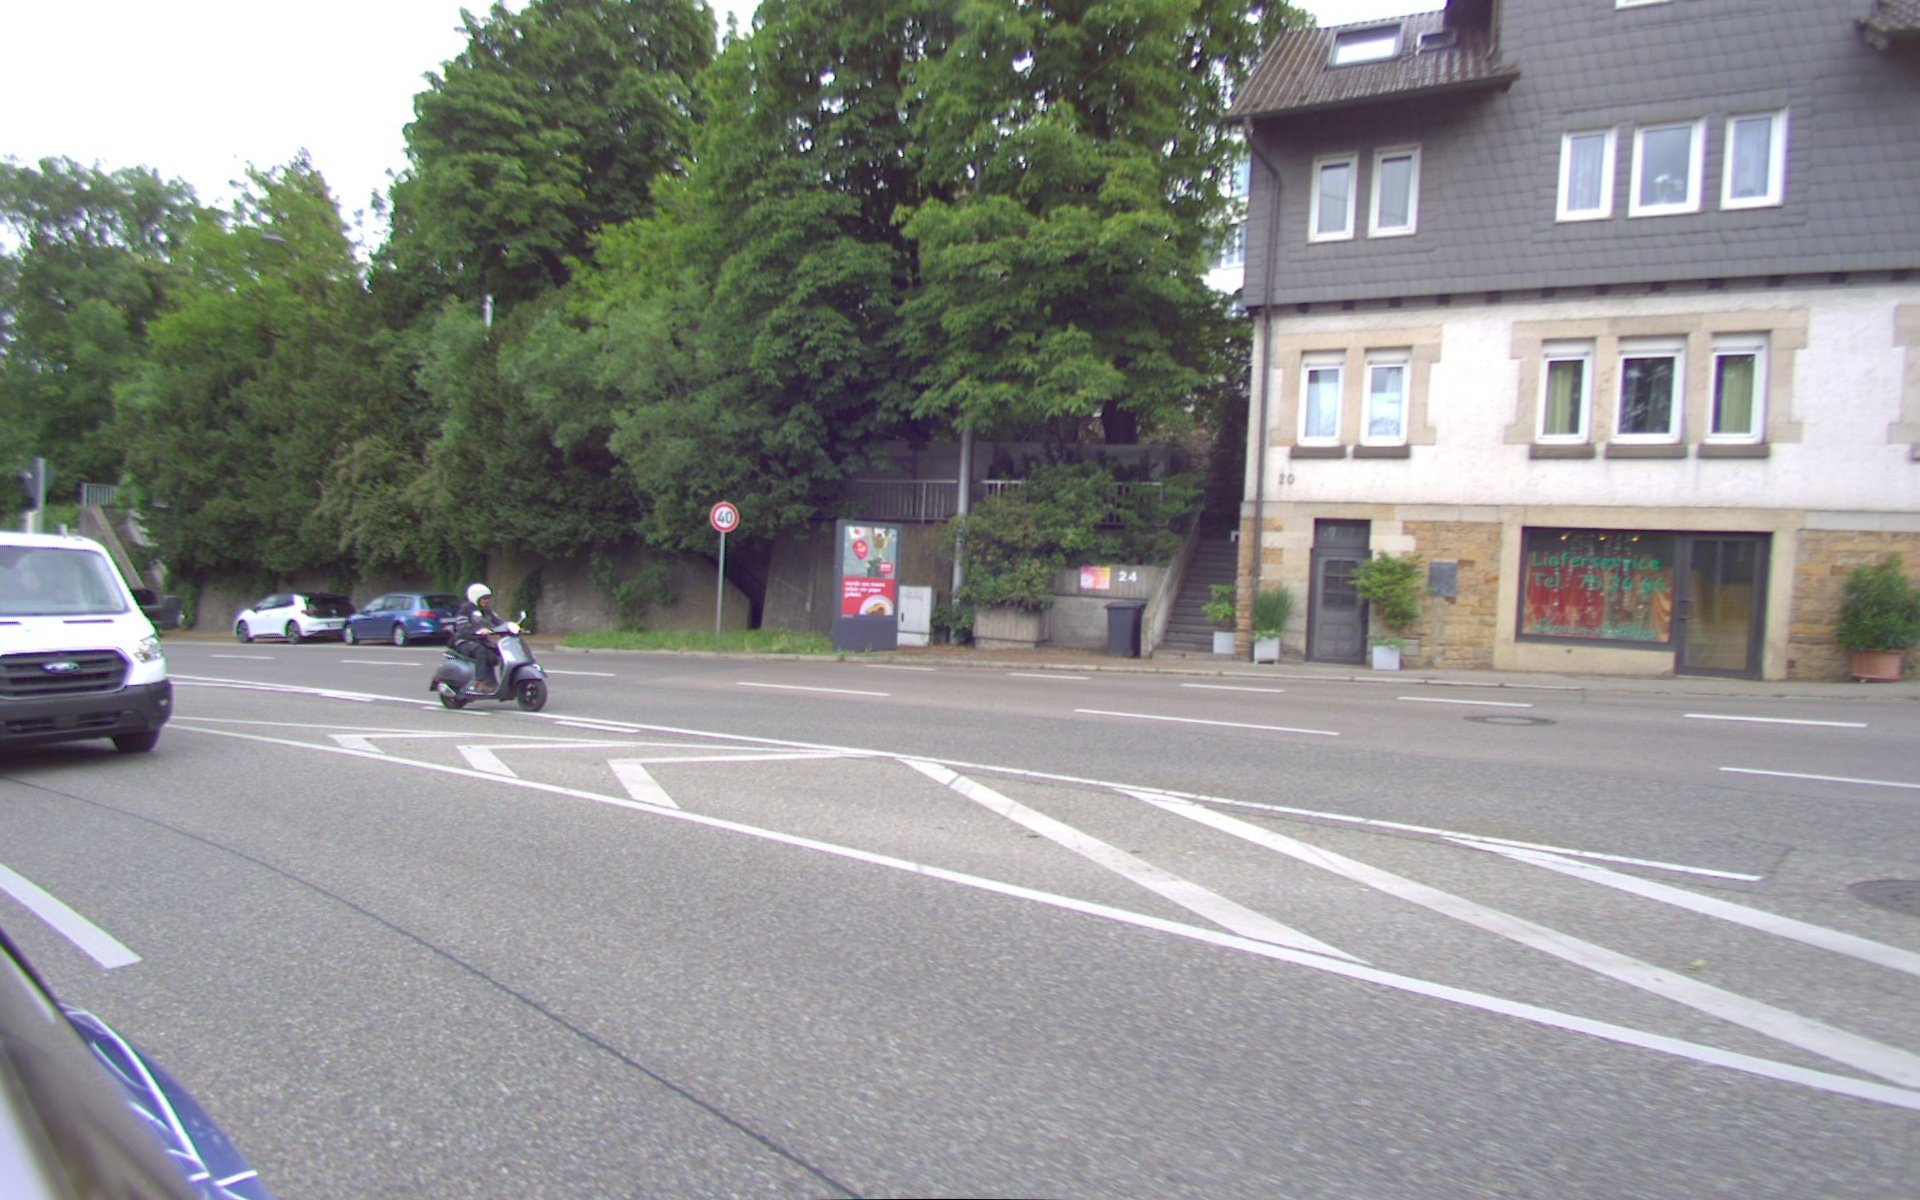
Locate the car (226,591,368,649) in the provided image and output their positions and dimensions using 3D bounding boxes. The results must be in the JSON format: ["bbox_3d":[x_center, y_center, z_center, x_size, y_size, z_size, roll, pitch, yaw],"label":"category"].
[{"bbox_3d":[-20.427,0.615,31.178,4.148,1.641,1.770,-1,1,26],"label":"car"}]

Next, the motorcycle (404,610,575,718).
[{"bbox_3d":[-6.063,0.792,13.038,2.031,1.309,0.824,-1,0,22],"label":"motorcycle"}]

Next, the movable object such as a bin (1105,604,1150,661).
[{"bbox_3d":[3.170,0.596,19.135,0.646,1.027,0.533,2,1,36],"label":"movable object such as a bin"}]

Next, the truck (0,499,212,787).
[{"bbox_3d":[-10.349,0.337,10.146,6.301,2.338,2.063,0,1,28],"label":"truck"}]

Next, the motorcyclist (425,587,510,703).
[{"bbox_3d":[-6.317,0.558,12.989,0.718,1.429,0.679,-1,0,22],"label":"motorcyclist"}]

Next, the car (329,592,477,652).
[{"bbox_3d":[-15.608,0.601,28.290,4.285,1.540,1.700,-1,1,31],"label":"car"}]

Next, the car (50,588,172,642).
[{"bbox_3d":[-31.028,0.535,36.971,4.464,1.857,1.770,-1,1,26],"label":"car"}]
